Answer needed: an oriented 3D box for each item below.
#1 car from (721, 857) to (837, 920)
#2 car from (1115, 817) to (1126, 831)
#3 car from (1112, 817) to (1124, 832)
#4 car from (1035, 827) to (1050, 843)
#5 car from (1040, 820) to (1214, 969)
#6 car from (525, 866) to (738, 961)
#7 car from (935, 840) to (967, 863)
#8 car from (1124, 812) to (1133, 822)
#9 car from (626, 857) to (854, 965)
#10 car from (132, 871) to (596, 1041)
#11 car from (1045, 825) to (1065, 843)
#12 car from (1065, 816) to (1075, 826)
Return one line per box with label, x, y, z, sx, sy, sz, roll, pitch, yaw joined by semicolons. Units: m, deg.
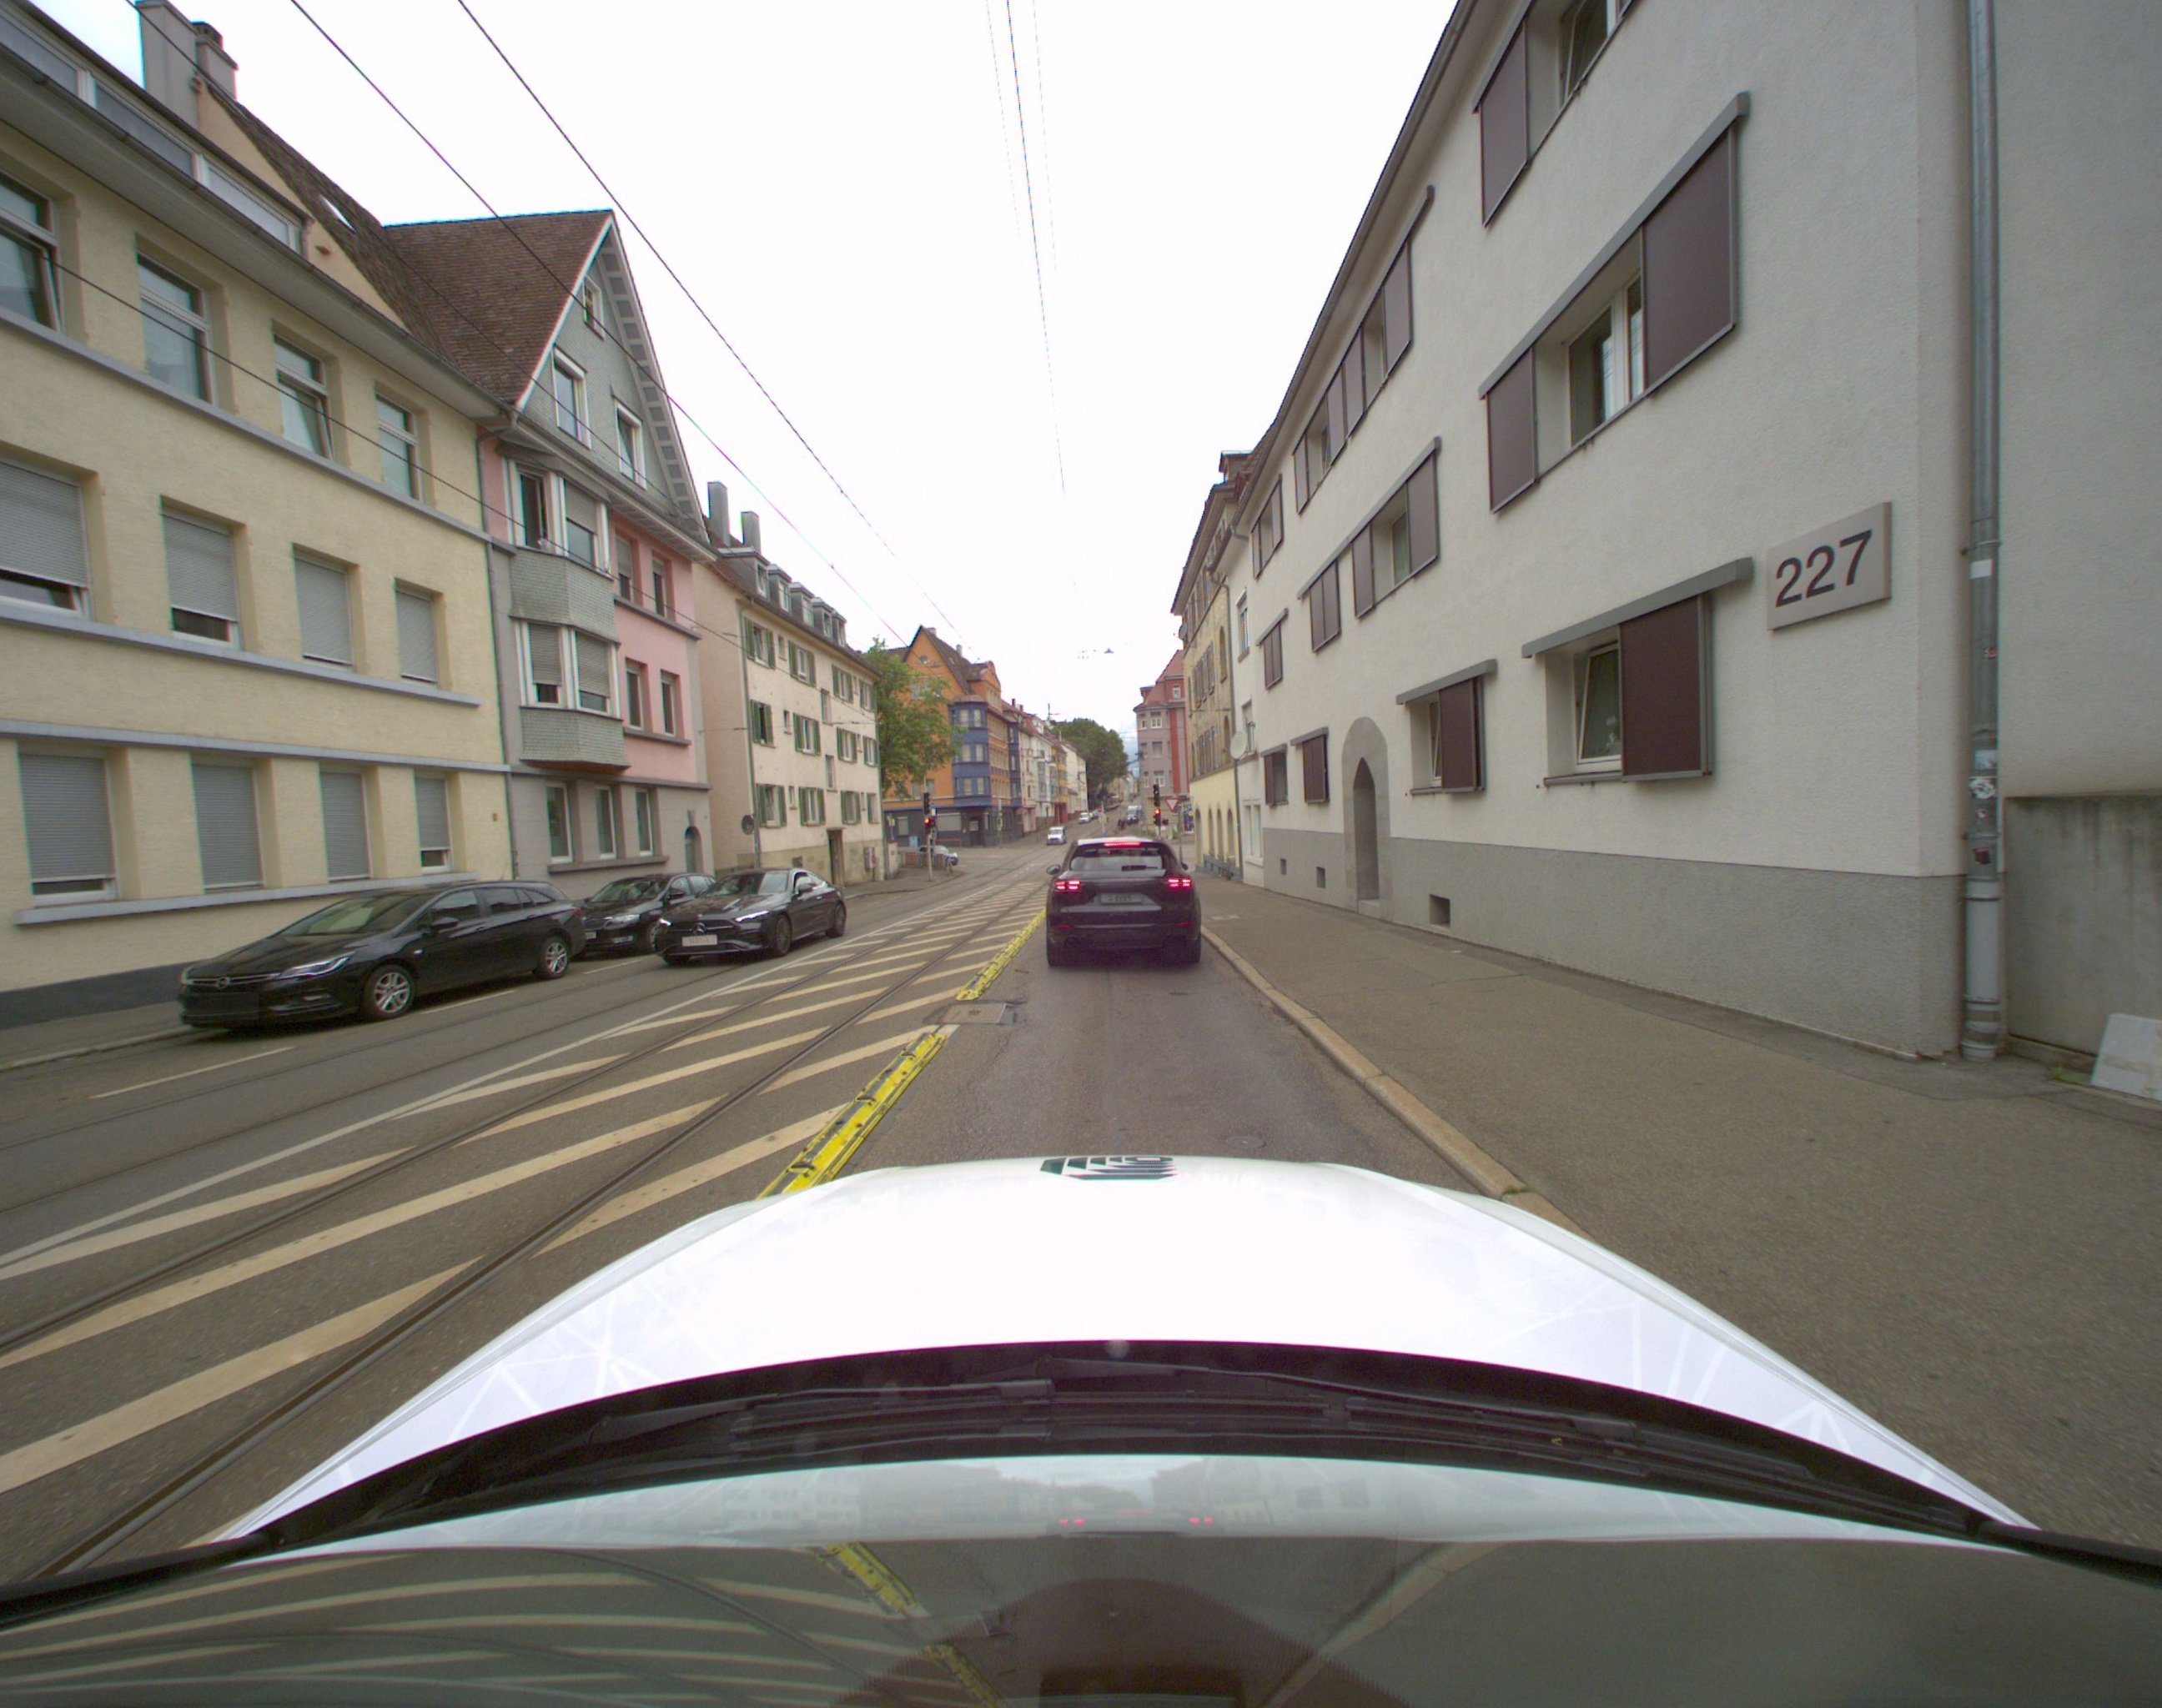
car;-8.277;0.884;22.692;1.615;1.490;4.047;-4;0;0
car;5.275;-4.011;108.082;1.389;1.722;3.361;-3;1;2
car;4.582;-3.624;101.143;1.389;1.722;3.361;-3;1;2
car;-4.456;-2.223;95.145;1.389;1.722;3.361;-3;1;2
car;0.597;0.459;11.689;1.986;1.675;4.001;-3;1;1
car;-8.424;1.038;15.738;1.729;1.410;4.002;-3;1;2
car;-9.320;-0.193;58.341;1.639;1.508;3.517;-3;1;-19
car;7.724;-6.080;133.119;1.389;1.450;3.361;-3;1;2
car;-5.592;0.842;14.105;1.914;1.424;4.499;-3;1;1
car;-8.402;1.048;10.273;1.614;1.473;4.558;-4;0;2
car;-2.738;-2.129;85.808;1.744;1.759;4.256;-3;1;2
car;-1.734;-5.212;130.627;1.389;1.450;3.361;-3;1;2
